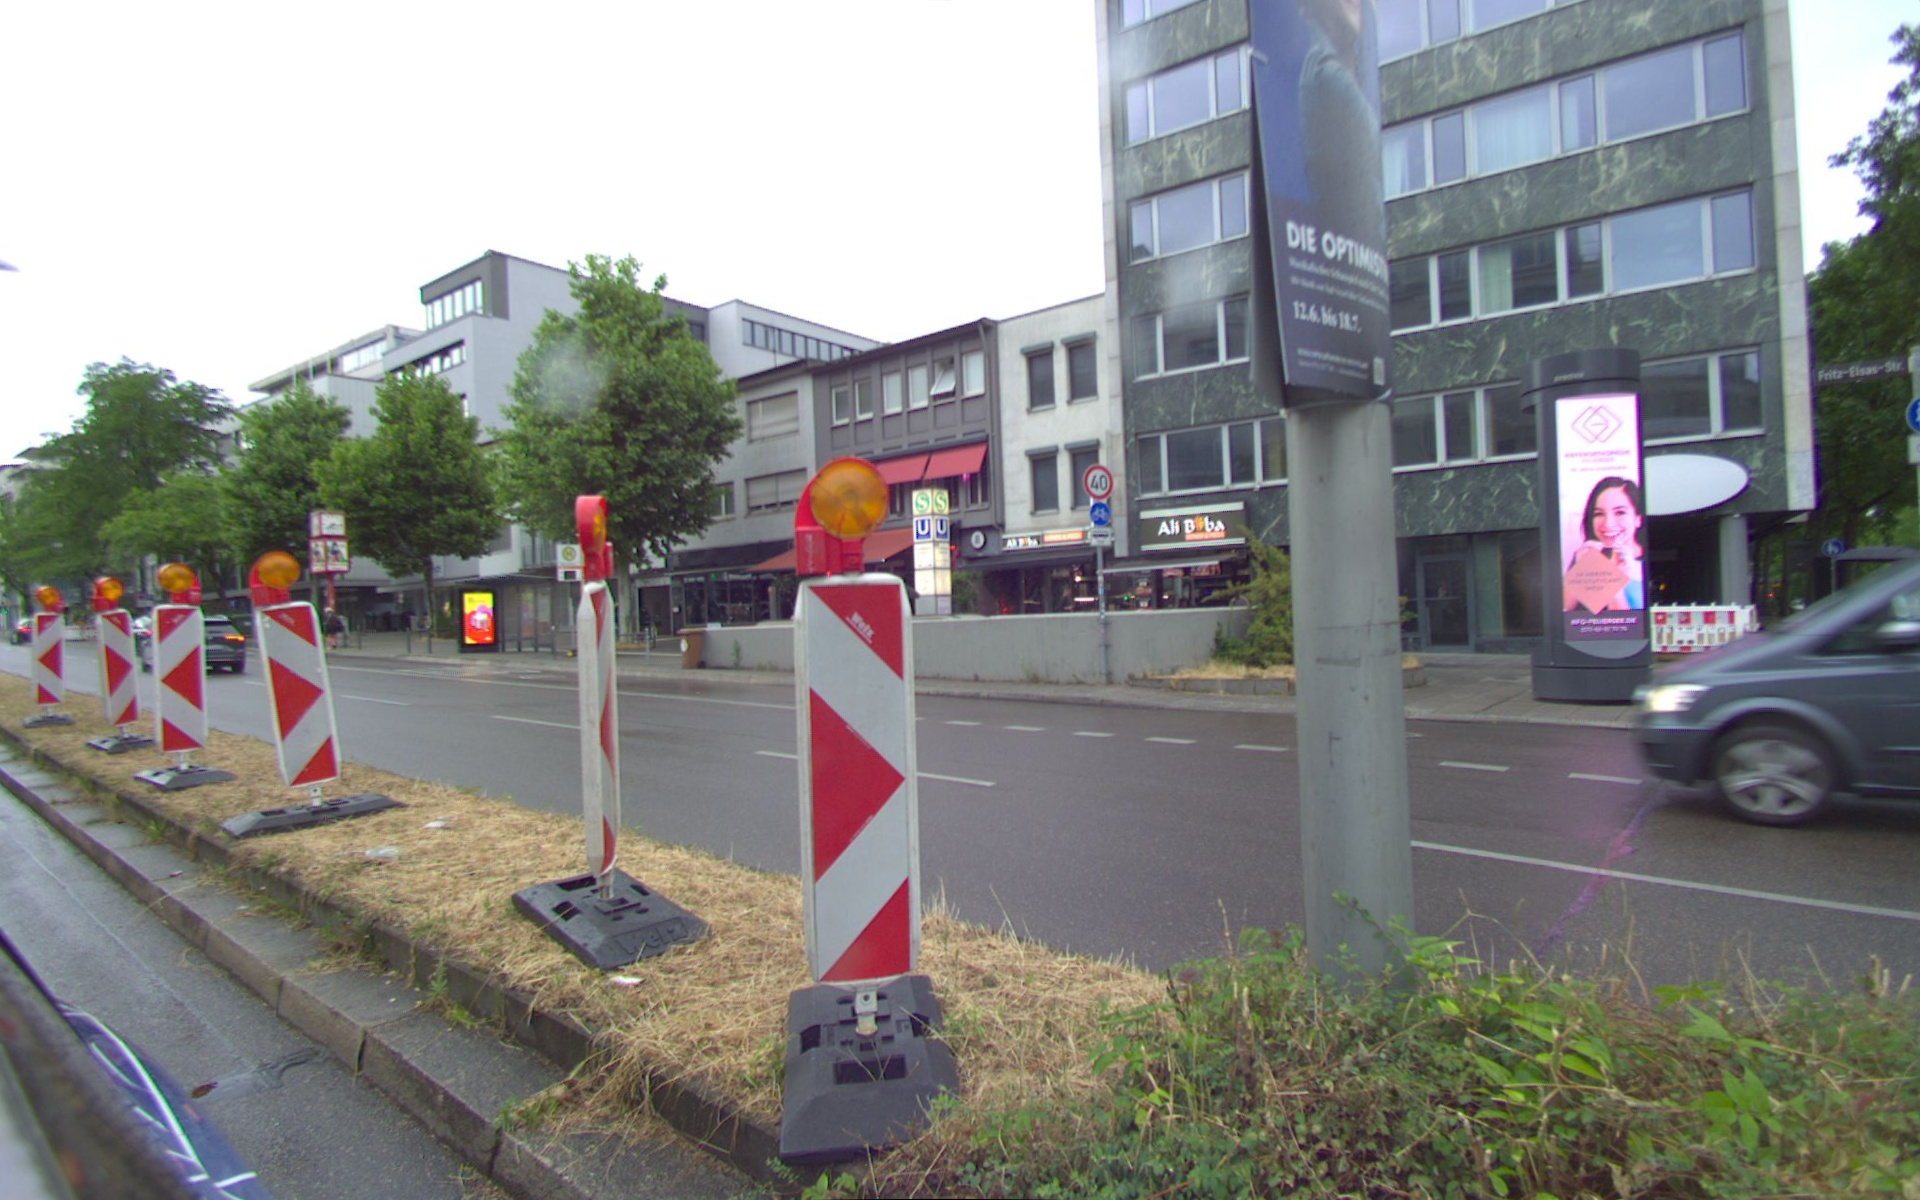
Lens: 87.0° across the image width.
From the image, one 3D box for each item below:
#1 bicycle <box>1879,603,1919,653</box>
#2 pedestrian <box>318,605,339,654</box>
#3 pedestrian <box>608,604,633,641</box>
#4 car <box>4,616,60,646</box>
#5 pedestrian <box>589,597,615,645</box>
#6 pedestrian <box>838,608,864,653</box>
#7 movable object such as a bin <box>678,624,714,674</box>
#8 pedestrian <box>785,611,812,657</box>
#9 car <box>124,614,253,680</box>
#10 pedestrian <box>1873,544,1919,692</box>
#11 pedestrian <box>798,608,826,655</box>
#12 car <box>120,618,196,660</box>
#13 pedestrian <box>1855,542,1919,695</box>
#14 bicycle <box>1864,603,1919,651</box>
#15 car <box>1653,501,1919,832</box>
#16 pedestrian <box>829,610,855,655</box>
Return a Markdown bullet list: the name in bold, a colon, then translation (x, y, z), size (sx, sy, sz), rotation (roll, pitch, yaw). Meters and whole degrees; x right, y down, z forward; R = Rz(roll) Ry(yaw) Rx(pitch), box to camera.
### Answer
- **bicycle**: translation (20.759, 0.594, 21.480), size (1.780, 1.060, 0.579), rotation (-1, -1, 37)
- **pedestrian**: translation (-24.005, 1.104, 38.496), size (0.567, 1.839, 0.581), rotation (-1, 0, -43)
- **pedestrian**: translation (-14.572, 0.967, 43.487), size (0.764, 1.577, 0.768), rotation (-1, 0, -41)
- **car**: translation (-51.581, 1.719, 56.234), size (4.415, 1.566, 1.671), rotation (-1, 0, 39)
- **pedestrian**: translation (-15.080, 0.877, 42.636), size (0.764, 2.029, 0.768), rotation (-1, 0, -41)
- **pedestrian**: translation (-3.764, 1.037, 35.015), size (0.611, 1.540, 0.660), rotation (-2, -1, 44)
- **movable object such as a bin**: translation (-6.110, 1.126, 23.449), size (0.660, 1.109, 0.501), rotation (-1, 0, 39)
- **pedestrian**: translation (-5.479, 1.159, 34.337), size (0.611, 1.540, 0.660), rotation (-2, -1, 44)
- **car**: translation (-19.703, 1.169, 25.792), size (4.286, 1.522, 1.671), rotation (-2, -1, 39)
- **pedestrian**: translation (13.387, 0.244, 14.150), size (0.588, 2.029, 0.730), rotation (0, -1, -29)
- **pedestrian**: translation (-4.895, 1.029, 33.492), size (0.611, 1.540, 0.660), rotation (-2, -1, 44)
- **car**: translation (-30.841, 1.517, 38.895), size (4.213, 1.442, 1.669), rotation (-4, -3, 43)
- **pedestrian**: translation (12.838, 0.252, 13.819), size (0.588, 2.029, 0.730), rotation (0, -1, -29)
- **bicycle**: translation (21.254, 0.588, 22.388), size (1.780, 1.060, 0.579), rotation (-1, -1, 37)
- **car**: translation (7.167, 0.382, 5.991), size (4.958, 1.942, 1.975), rotation (0, 0, 38)
- **pedestrian**: translation (-4.167, 1.141, 35.624), size (0.611, 1.540, 0.660), rotation (-2, -1, 44)
